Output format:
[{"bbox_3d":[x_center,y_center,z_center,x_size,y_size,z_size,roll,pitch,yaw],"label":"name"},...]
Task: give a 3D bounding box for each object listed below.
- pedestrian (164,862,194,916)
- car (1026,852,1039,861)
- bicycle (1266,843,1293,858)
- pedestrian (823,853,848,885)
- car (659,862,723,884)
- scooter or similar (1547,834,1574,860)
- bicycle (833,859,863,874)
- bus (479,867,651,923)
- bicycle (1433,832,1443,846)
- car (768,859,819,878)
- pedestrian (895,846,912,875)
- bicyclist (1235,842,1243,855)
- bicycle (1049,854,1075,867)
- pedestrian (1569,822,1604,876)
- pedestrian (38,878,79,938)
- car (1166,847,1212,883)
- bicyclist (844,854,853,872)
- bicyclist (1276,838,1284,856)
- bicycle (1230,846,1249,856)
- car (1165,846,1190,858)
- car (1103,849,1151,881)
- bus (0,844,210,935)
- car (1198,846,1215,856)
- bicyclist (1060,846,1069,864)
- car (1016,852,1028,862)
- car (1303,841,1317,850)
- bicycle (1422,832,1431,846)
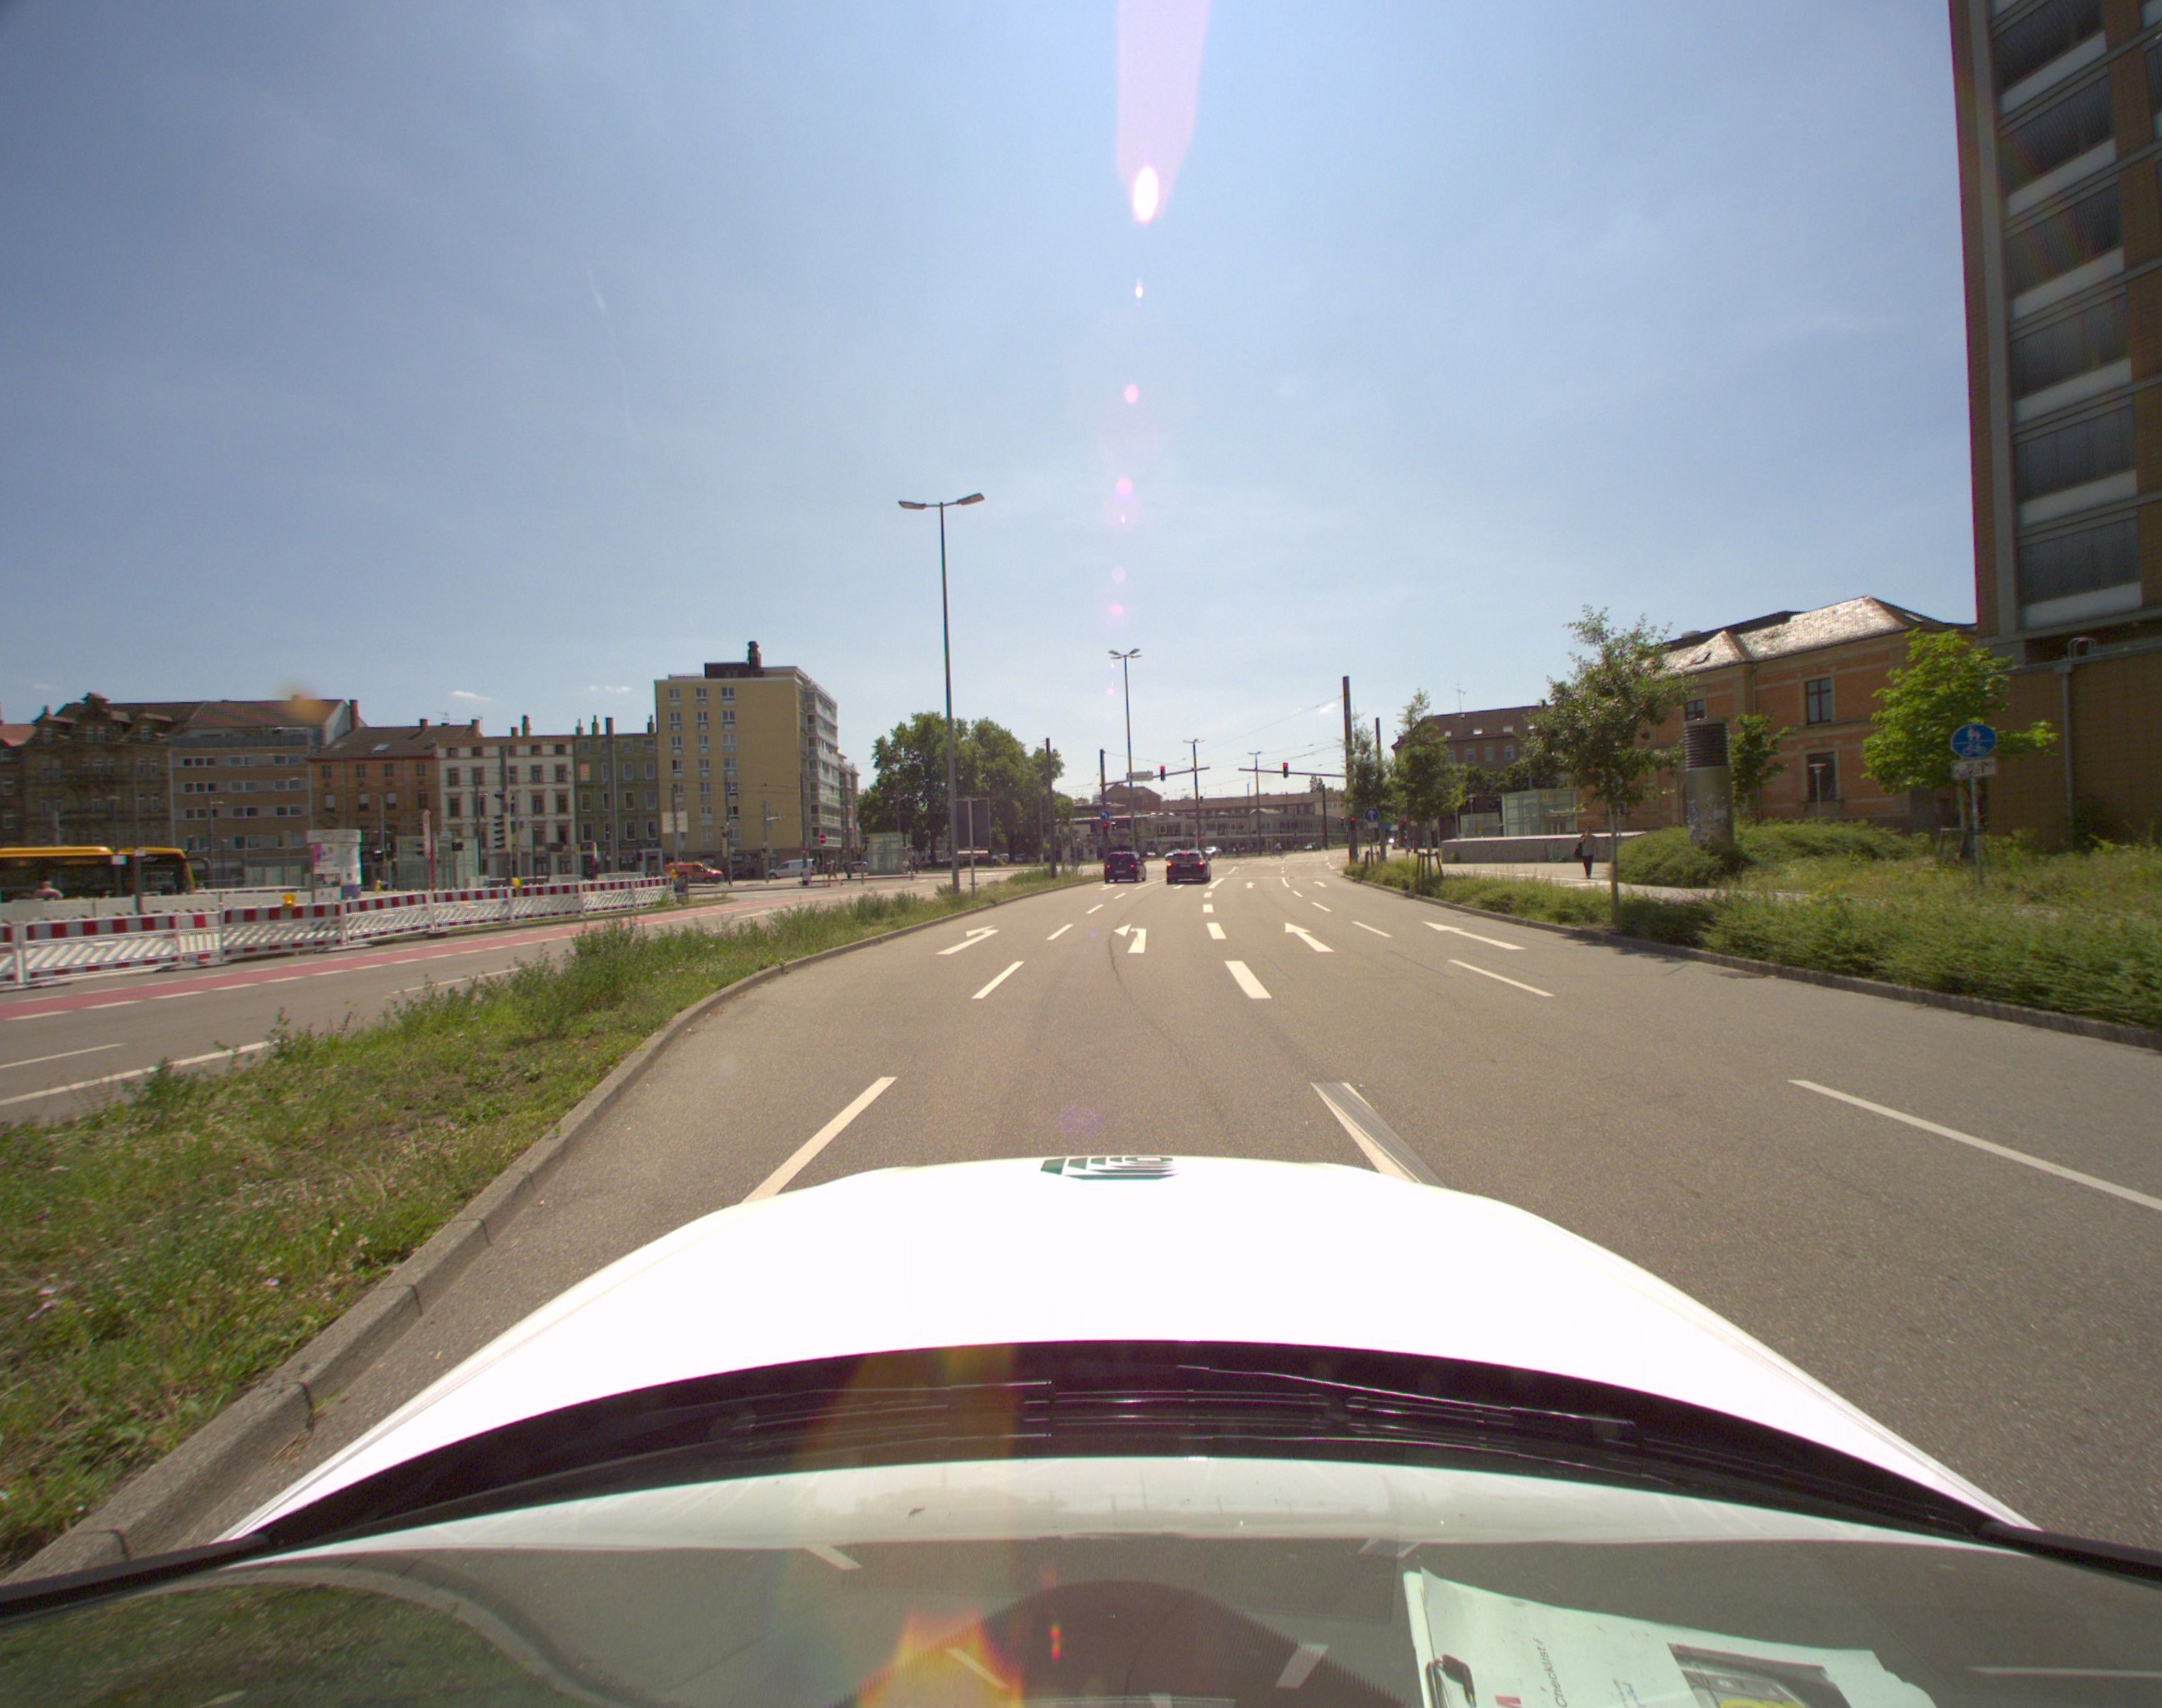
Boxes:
[{"bbox_3d":[-34.585,1.335,31.241,0.603,1.995,0.668,0,3,43],"label":"pedestrian"},{"bbox_3d":[-8.612,0.480,144.613,1.502,1.418,3.428,-2,2,7],"label":"car"},{"bbox_3d":[21.469,-0.377,88.253,2.808,1.463,0.636,-2,2,10],"label":"bicycle"},{"bbox_3d":[-15.313,0.921,50.772,1.173,1.933,0.904,-2,2,6],"label":"pedestrian"},{"bbox_3d":[-33.779,1.604,70.537,4.611,1.613,1.675,-2,2,-3],"label":"car"},{"bbox_3d":[23.079,-0.349,39.219,0.396,1.167,1.286,-2,2,-9],"label":"scooter or similar"},{"bbox_3d":[-27.750,1.450,97.110,3.337,1.595,0.810,-3,2,-34],"label":"bicycle"},{"bbox_3d":[-16.250,1.221,26.129,1.237,1.249,5.831,-2,2,6],"label":"bus"},{"bbox_3d":[48.317,-2.012,110.332,0.608,1.788,3.193,-1,2,13],"label":"bicycle"},{"bbox_3d":[-28.185,1.426,79.930,4.303,1.626,1.810,-2,2,-8],"label":"car"},{"bbox_3d":[-18.584,0.628,85.154,1.206,2.937,1.340,-2,2,9],"label":"pedestrian"},{"bbox_3d":[18.470,-0.624,95.197,0.731,1.479,0.655,-2,2,-6],"label":"bicyclist"},{"bbox_3d":[-2.158,0.696,91.737,2.761,1.385,0.672,-2,2,5],"label":"bicycle"},{"bbox_3d":[16.641,-0.167,26.821,0.727,1.706,0.813,-1,1,14],"label":"pedestrian"},{"bbox_3d":[-35.378,1.845,28.185,0.667,1.995,0.604,-3,2,-37],"label":"pedestrian"},{"bbox_3d":[5.098,0.463,38.124,1.705,1.556,4.602,-2,0,12],"label":"car"},{"bbox_3d":[-27.755,1.045,97.097,0.742,2.105,0.768,-3,2,-35],"label":"bicyclist"},{"bbox_3d":[21.525,-0.776,88.233,0.758,1.937,0.662,-2,2,11],"label":"bicyclist"},{"bbox_3d":[18.511,-0.312,95.203,2.157,1.107,0.456,-2,2,-6],"label":"bicycle"},{"bbox_3d":[12.203,-0.251,102.455,1.604,1.390,4.150,-2,0,29],"label":"car"},{"bbox_3d":[2.299,0.501,39.765,1.610,1.463,4.014,-2,0,13],"label":"car"},{"bbox_3d":[-39.150,1.325,27.946,3.690,3.041,12.332,-2,0,39],"label":"bus"},{"bbox_3d":[17.519,-0.443,113.785,1.418,1.285,3.281,-1,2,25],"label":"car"},{"bbox_3d":[-1.890,0.113,91.691,0.842,1.965,0.627,-2,2,5],"label":"bicyclist"},{"bbox_3d":[-10.545,0.513,145.708,1.417,1.508,3.445,-2,2,7],"label":"car"},{"bbox_3d":[41.215,-1.609,146.428,1.556,1.427,3.636,-1,2,28],"label":"car"},{"bbox_3d":[46.943,-2.056,110.716,0.608,1.788,3.193,-1,2,13],"label":"bicycle"}]
